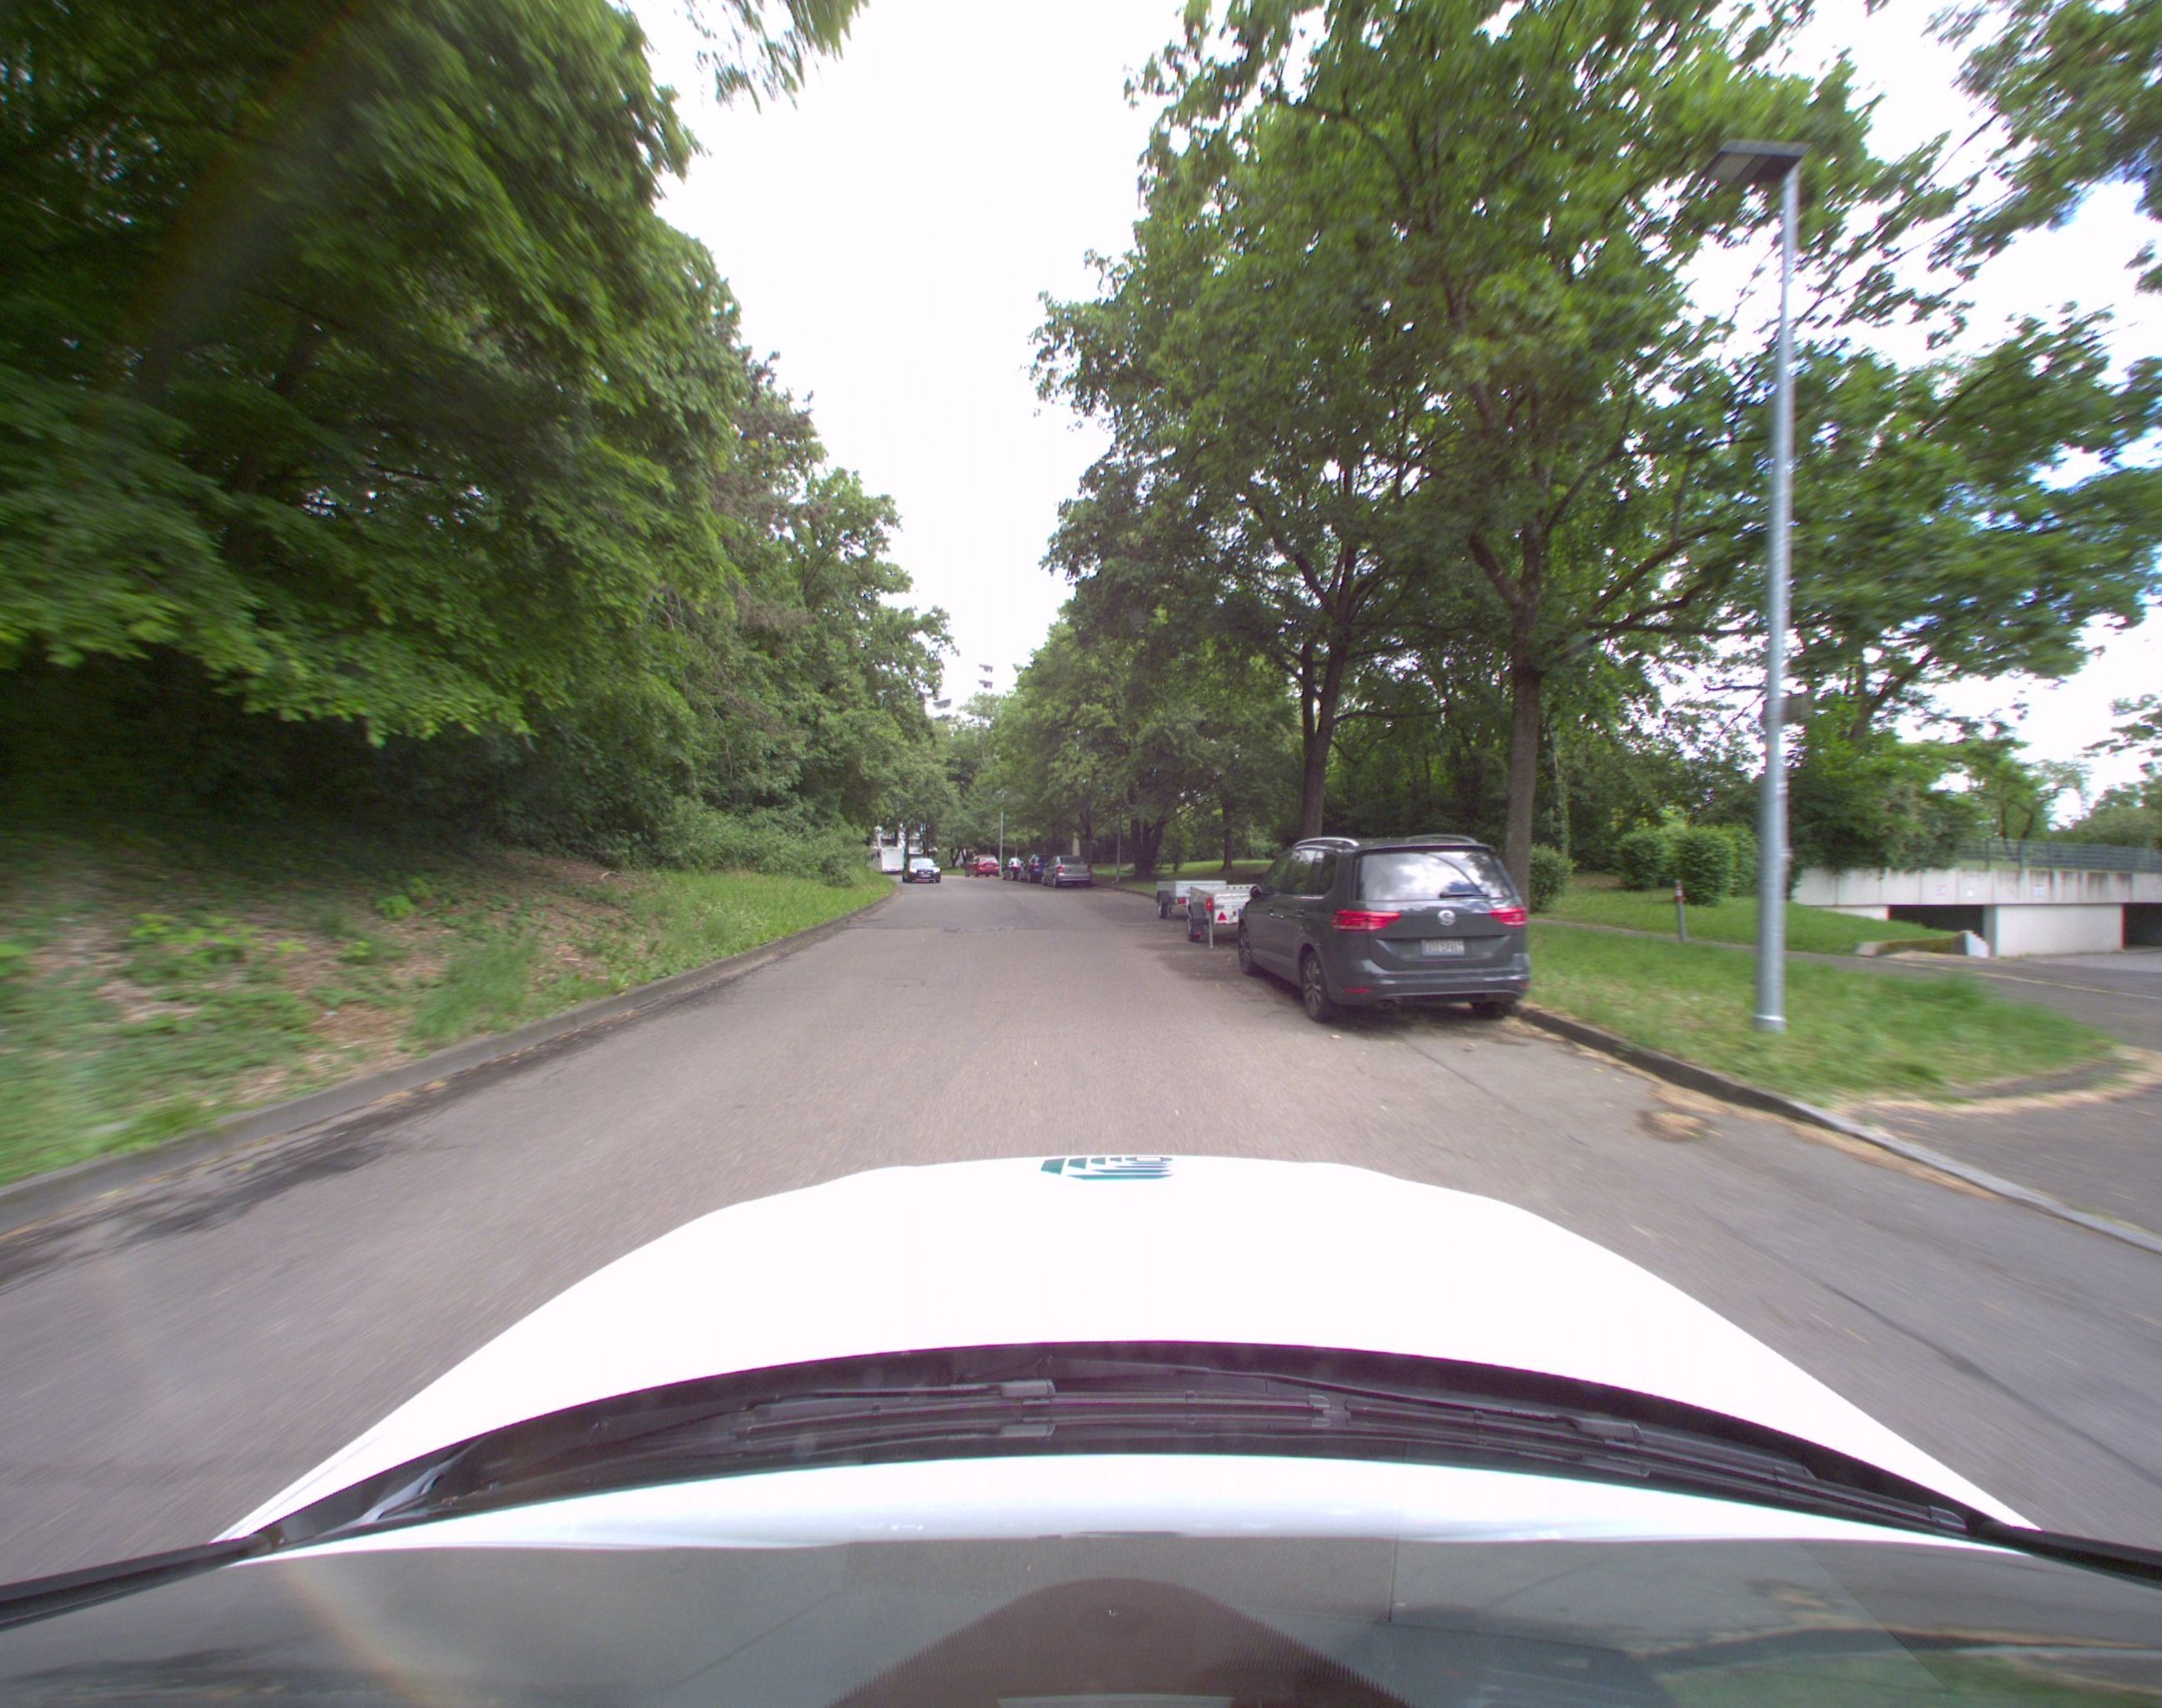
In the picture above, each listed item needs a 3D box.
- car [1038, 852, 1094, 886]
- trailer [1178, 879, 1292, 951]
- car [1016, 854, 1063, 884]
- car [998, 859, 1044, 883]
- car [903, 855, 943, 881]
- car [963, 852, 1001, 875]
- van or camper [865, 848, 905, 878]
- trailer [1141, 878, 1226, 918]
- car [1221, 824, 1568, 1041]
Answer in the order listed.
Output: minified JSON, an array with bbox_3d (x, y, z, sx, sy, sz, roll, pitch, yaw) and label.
[{"bbox_3d":[-0.749,0.670,37.232,1.720,1.431,3.930,-1,0,-14],"label":"car"},{"bbox_3d":[2.660,1.016,14.814,1.352,0.969,3.893,1,0,0],"label":"trailer"},{"bbox_3d":[-2.282,0.824,43.743,1.717,1.510,4.160,1,-2,-15],"label":"car"},{"bbox_3d":[-3.606,0.997,48.299,1.755,1.337,4.389,0,-1,-18],"label":"car"},{"bbox_3d":[-9.224,0.828,47.447,1.795,1.389,4.465,1,-2,-17],"label":"car"},{"bbox_3d":[-7.146,0.692,58.591,1.745,1.562,3.970,-1,-1,-22],"label":"car"},{"bbox_3d":[-20.544,0.973,85.281,2.446,3.007,5.155,-1,0,-32],"label":"van or camper"},{"bbox_3d":[2.381,1.019,19.599,1.361,0.848,3.272,1,-1,-5],"label":"trailer"},{"bbox_3d":[2.854,0.631,8.720,1.770,1.662,4.838,1,0,-1],"label":"car"}]
